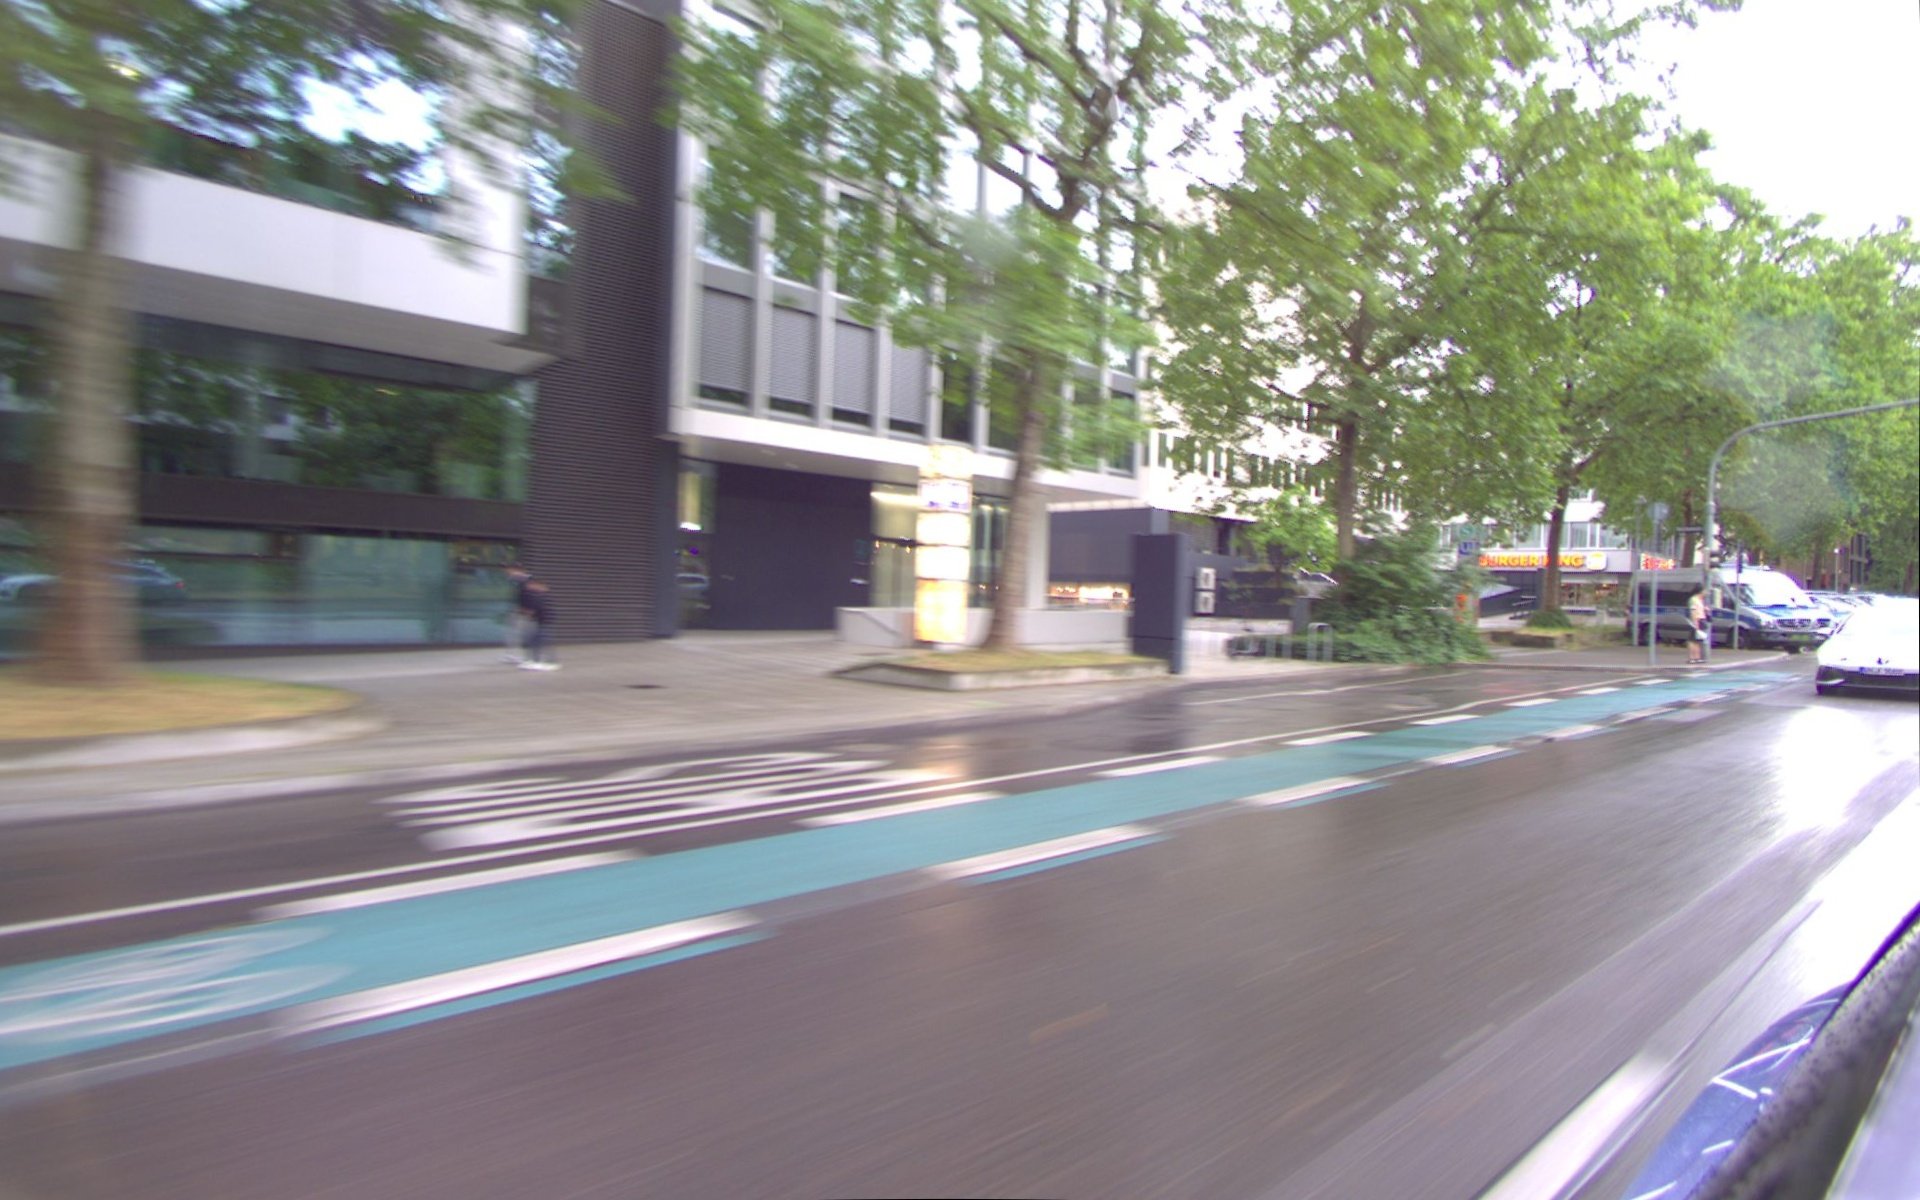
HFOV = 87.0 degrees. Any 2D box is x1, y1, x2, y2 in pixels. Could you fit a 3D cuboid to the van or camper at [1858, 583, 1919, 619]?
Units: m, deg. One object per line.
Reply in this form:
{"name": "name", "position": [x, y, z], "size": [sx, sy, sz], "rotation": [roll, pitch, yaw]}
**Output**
{"name": "van or camper", "position": [55.547, 0.048, 58.896], "size": [1.963, 2.017, 4.949], "rotation": [0, 0, -2]}

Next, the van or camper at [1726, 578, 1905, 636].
{"name": "van or camper", "position": [32.113, 0.238, 38.237], "size": [1.960, 2.017, 5.214], "rotation": [-1, 0, -6]}

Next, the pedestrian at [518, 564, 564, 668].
{"name": "pedestrian", "position": [-7.475, 0.274, 18.054], "size": [0.597, 1.816, 0.563], "rotation": [0, 0, -43]}

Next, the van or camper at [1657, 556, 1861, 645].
{"name": "van or camper", "position": [26.776, -0.017, 34.277], "size": [1.960, 2.714, 5.818], "rotation": [1, 1, -5]}

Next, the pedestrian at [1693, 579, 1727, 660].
{"name": "pedestrian", "position": [17.622, 0.444, 23.776], "size": [0.605, 1.854, 0.556], "rotation": [0, 0, 41]}

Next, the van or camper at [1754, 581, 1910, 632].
{"name": "van or camper", "position": [36.990, 0.235, 43.160], "size": [2.065, 2.050, 5.111], "rotation": [0, 0, -3]}

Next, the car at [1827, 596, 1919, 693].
{"name": "car", "position": [15.861, 0.681, 16.823], "size": [4.435, 1.463, 1.862], "rotation": [1, -1, -45]}

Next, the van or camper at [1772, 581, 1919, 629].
{"name": "van or camper", "position": [39.806, 0.187, 45.601], "size": [1.959, 2.020, 5.032], "rotation": [0, 1, -8]}

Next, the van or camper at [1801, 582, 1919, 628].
{"name": "van or camper", "position": [42.430, 0.194, 47.353], "size": [1.960, 2.036, 4.799], "rotation": [0, 0, -4]}

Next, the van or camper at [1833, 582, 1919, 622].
{"name": "van or camper", "position": [50.451, 0.127, 54.660], "size": [1.957, 2.045, 5.091], "rotation": [0, -1, -4]}

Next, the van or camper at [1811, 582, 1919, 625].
{"name": "van or camper", "position": [45.272, 0.144, 50.155], "size": [1.831, 2.023, 4.858], "rotation": [0, 0, -4]}

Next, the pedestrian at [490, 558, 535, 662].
{"name": "pedestrian", "position": [-8.300, 0.177, 18.774], "size": [0.597, 1.878, 0.563], "rotation": [0, 0, -43]}

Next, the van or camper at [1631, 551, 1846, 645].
{"name": "van or camper", "position": [24.375, -0.082, 32.089], "size": [2.105, 2.711, 5.820], "rotation": [0, 0, -3]}
